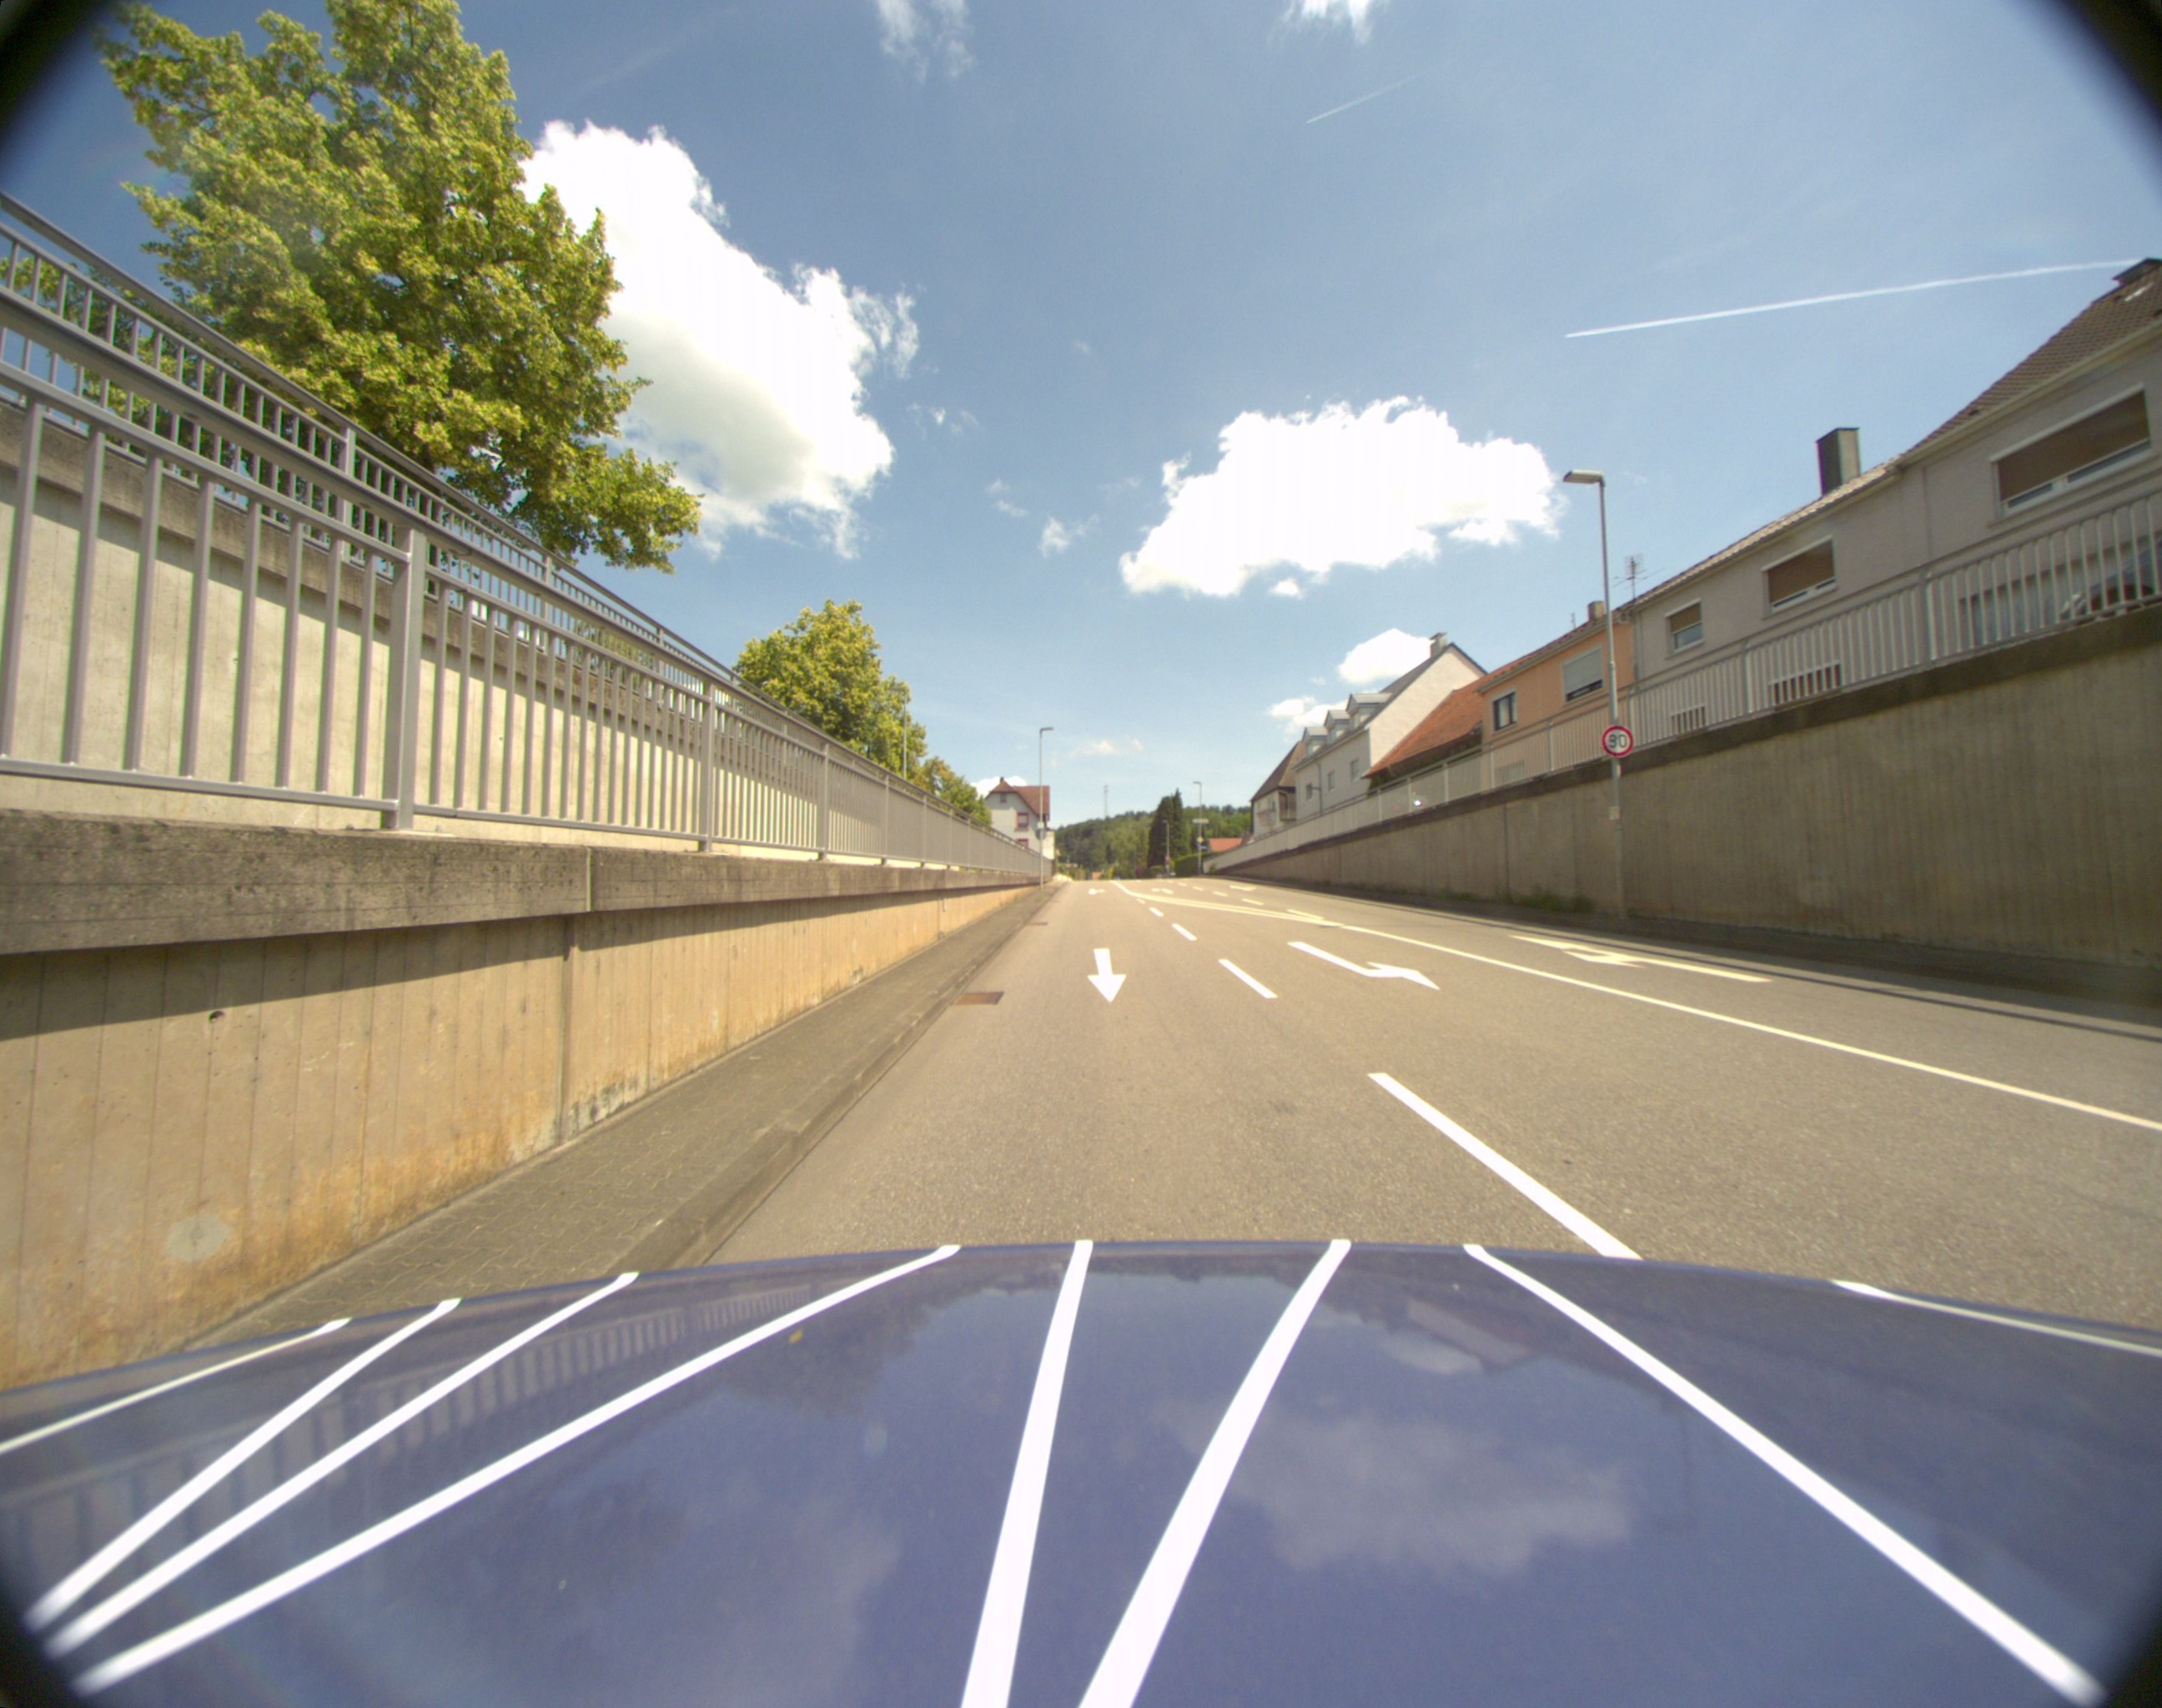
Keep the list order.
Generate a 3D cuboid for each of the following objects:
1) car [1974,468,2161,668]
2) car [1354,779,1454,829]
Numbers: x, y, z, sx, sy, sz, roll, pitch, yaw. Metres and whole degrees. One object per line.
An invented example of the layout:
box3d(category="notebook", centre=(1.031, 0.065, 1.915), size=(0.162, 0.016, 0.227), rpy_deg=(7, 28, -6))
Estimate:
box3d(category="car", centre=(11.417, -3.033, 6.703), size=(1.803, 1.515, 4.394), rpy_deg=(-1, -2, -1))
box3d(category="car", centre=(12.121, -1.820, 28.847), size=(1.790, 1.396, 4.394), rpy_deg=(-1, -2, -1))
